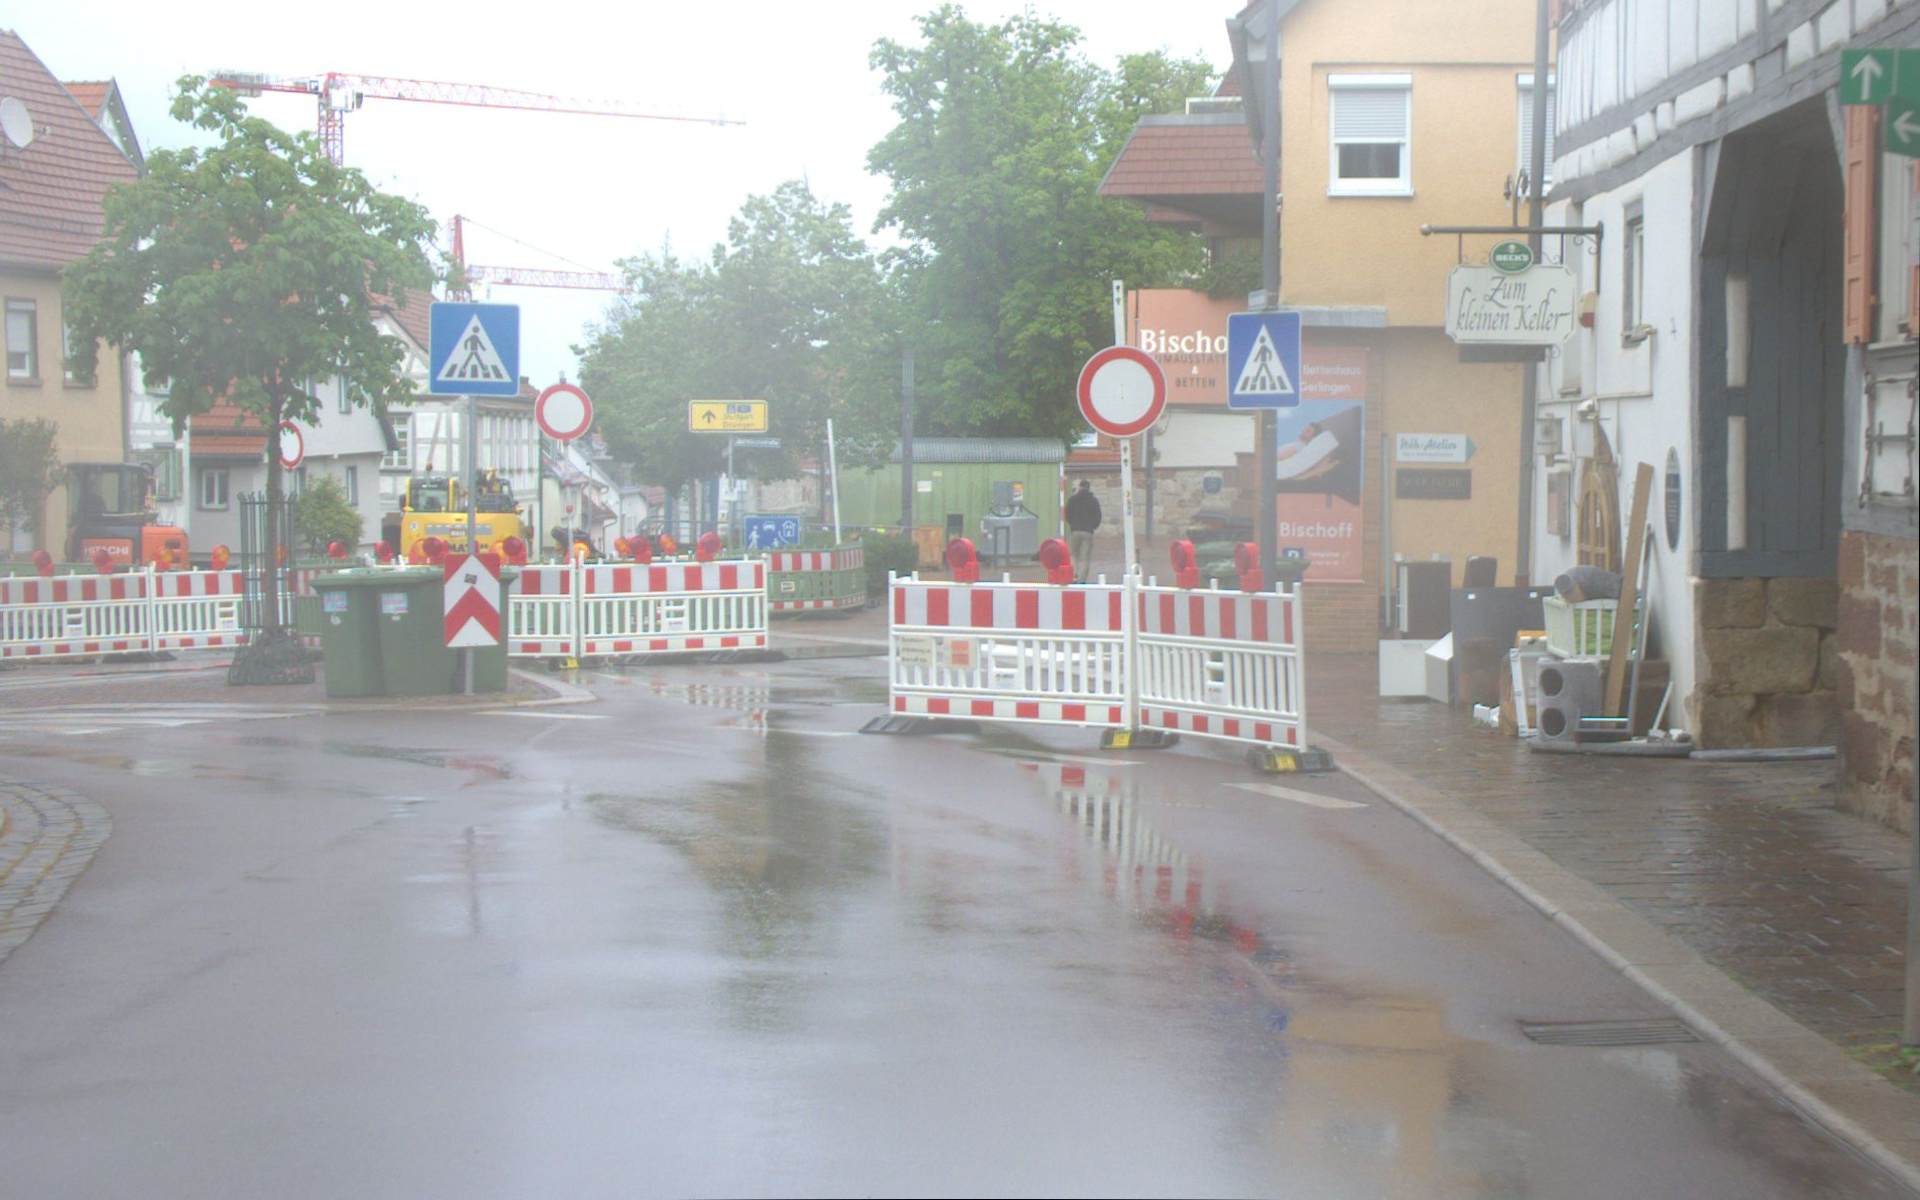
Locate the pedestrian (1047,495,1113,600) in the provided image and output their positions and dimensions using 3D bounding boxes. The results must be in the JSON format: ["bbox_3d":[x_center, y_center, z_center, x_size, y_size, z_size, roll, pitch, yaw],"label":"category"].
[{"bbox_3d":[2.049,-0.898,58.811,0.990,1.753,0.852,1,1,-6],"label":"pedestrian"}]

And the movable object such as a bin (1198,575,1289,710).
[{"bbox_3d":[2.271,0.337,27.507,0.616,1.062,0.539,-1,0,17],"label":"movable object such as a bin"}]

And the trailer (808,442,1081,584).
[{"bbox_3d":[-0.362,-1.891,75.251,5.780,2.937,2.000,1,1,-5],"label":"trailer"}]

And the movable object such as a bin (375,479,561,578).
[{"bbox_3d":[-10.487,-1.514,73.574,3.402,2.007,3.479,1,1,1],"label":"movable object such as a bin"}]

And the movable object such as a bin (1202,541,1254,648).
[{"bbox_3d":[2.954,-0.063,37.913,0.517,1.128,0.580,-2,2,3],"label":"movable object such as a bin"}]

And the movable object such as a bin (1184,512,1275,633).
[{"bbox_3d":[3.504,-0.369,44.625,1.065,1.507,1.242,-2,1,8],"label":"movable object such as a bin"}]

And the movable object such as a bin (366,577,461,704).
[{"bbox_3d":[-4.492,0.335,28.276,0.544,1.029,0.533,-1,-1,33],"label":"movable object such as a bin"}]

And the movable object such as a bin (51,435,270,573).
[{"bbox_3d":[-12.268,-1.447,52.984,1.905,2.007,3.999,-1,0,9],"label":"movable object such as a bin"}]

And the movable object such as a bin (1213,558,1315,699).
[{"bbox_3d":[2.366,0.214,26.794,0.678,1.062,0.540,-1,2,-7],"label":"movable object such as a bin"}]

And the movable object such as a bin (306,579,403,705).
[{"bbox_3d":[-5.038,0.352,28.614,0.541,1.033,0.571,-1,-1,33],"label":"movable object such as a bin"}]
